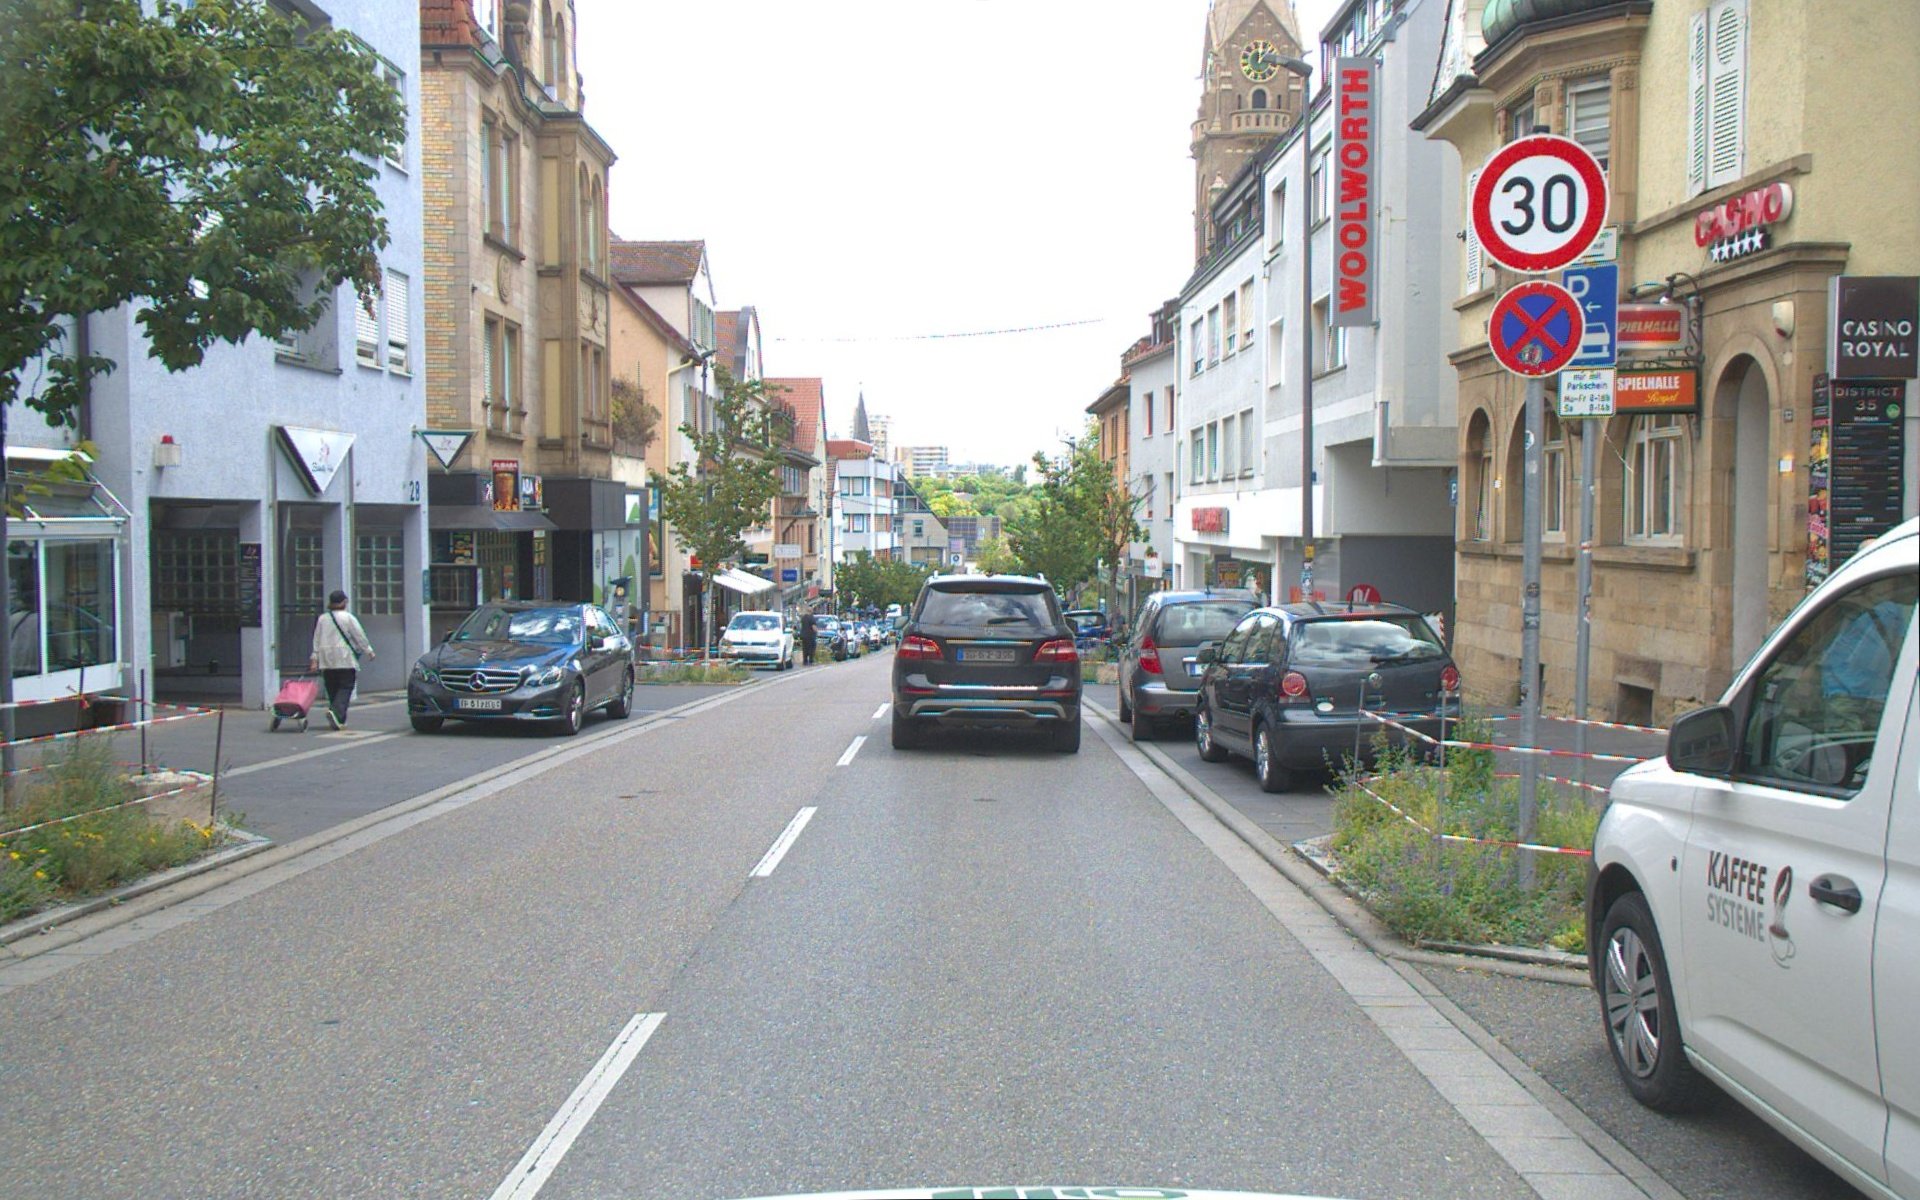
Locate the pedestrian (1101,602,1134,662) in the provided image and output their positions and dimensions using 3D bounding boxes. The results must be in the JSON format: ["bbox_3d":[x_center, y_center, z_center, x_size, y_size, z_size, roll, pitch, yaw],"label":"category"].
[{"bbox_3d":[4.262,0.852,44.794,0.741,1.588,0.817,-1,-1,-3],"label":"pedestrian"}]

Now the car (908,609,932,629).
[{"bbox_3d":[-3.518,1.658,145.951,1.887,1.657,4.262,2,0,0],"label":"car"}]

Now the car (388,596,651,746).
[{"bbox_3d":[-5.098,0.756,19.886,1.887,1.518,4.841,2,0,-1],"label":"car"}]

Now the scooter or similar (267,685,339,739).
[{"bbox_3d":[-6.984,1.185,17.593,0.514,0.528,0.573,2,-1,-1],"label":"scooter or similar"}]

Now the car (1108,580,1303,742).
[{"bbox_3d":[2.735,0.642,19.176,1.712,1.636,3.800,-2,0,1],"label":"car"}]

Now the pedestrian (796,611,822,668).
[{"bbox_3d":[-4.479,1.170,49.152,0.722,1.701,0.862,0,-1,-3],"label":"pedestrian"}]

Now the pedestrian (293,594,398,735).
[{"bbox_3d":[-6.789,0.701,18.312,0.809,1.489,0.810,2,-1,-1],"label":"pedestrian"}]

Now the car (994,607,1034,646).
[{"bbox_3d":[2.820,1.396,87.324,1.898,1.924,4.706,-2,0,-1],"label":"car"}]

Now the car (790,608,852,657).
[{"bbox_3d":[-4.987,1.166,59.829,1.887,1.650,4.638,1,-1,-1],"label":"car"}]

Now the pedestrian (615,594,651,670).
[{"bbox_3d":[-6.562,0.639,33.227,0.480,1.489,0.559,2,-1,9],"label":"pedestrian"}]

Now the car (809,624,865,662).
[{"bbox_3d":[-4.987,1.738,67.545,1.887,1.455,4.262,1,-1,1],"label":"car"}]

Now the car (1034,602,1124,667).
[{"bbox_3d":[3.020,0.904,42.705,1.714,1.524,3.796,-3,-2,-5],"label":"car"}]

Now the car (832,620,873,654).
[{"bbox_3d":[-5.247,1.792,81.131,1.888,1.523,4.259,2,0,-3],"label":"car"}]

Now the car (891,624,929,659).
[{"bbox_3d":[-2.510,2.059,81.919,1.783,1.646,4.133,-2,-1,-3],"label":"car"}]

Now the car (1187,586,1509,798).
[{"bbox_3d":[3.186,0.697,14.366,1.713,1.535,3.872,-2,0,-3],"label":"car"}]

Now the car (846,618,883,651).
[{"bbox_3d":[-5.115,1.821,88.520,1.888,1.623,4.455,2,0,-3],"label":"car"}]

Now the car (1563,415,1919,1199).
[{"bbox_3d":[2.902,0.536,3.423,1.837,1.831,4.734,0,0,3],"label":"car"}]

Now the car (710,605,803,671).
[{"bbox_3d":[-5.165,0.940,42.533,1.887,1.538,4.261,2,0,-1],"label":"car"}]

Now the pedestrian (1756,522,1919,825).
[{"bbox_3d":[5.535,0.427,10.145,0.780,1.757,1.053,-1,-1,0],"label":"pedestrian"}]

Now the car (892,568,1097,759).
[{"bbox_3d":[0.337,0.590,17.672,1.903,1.770,4.179,1,0,0],"label":"car"}]

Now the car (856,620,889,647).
[{"bbox_3d":[-5.504,2.114,104.944,1.887,1.523,4.261,2,0,-1],"label":"car"}]

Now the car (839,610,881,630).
[{"bbox_3d":[-9.433,1.902,156.249,3.908,1.780,1.998,-2,-1,-4],"label":"car"}]
